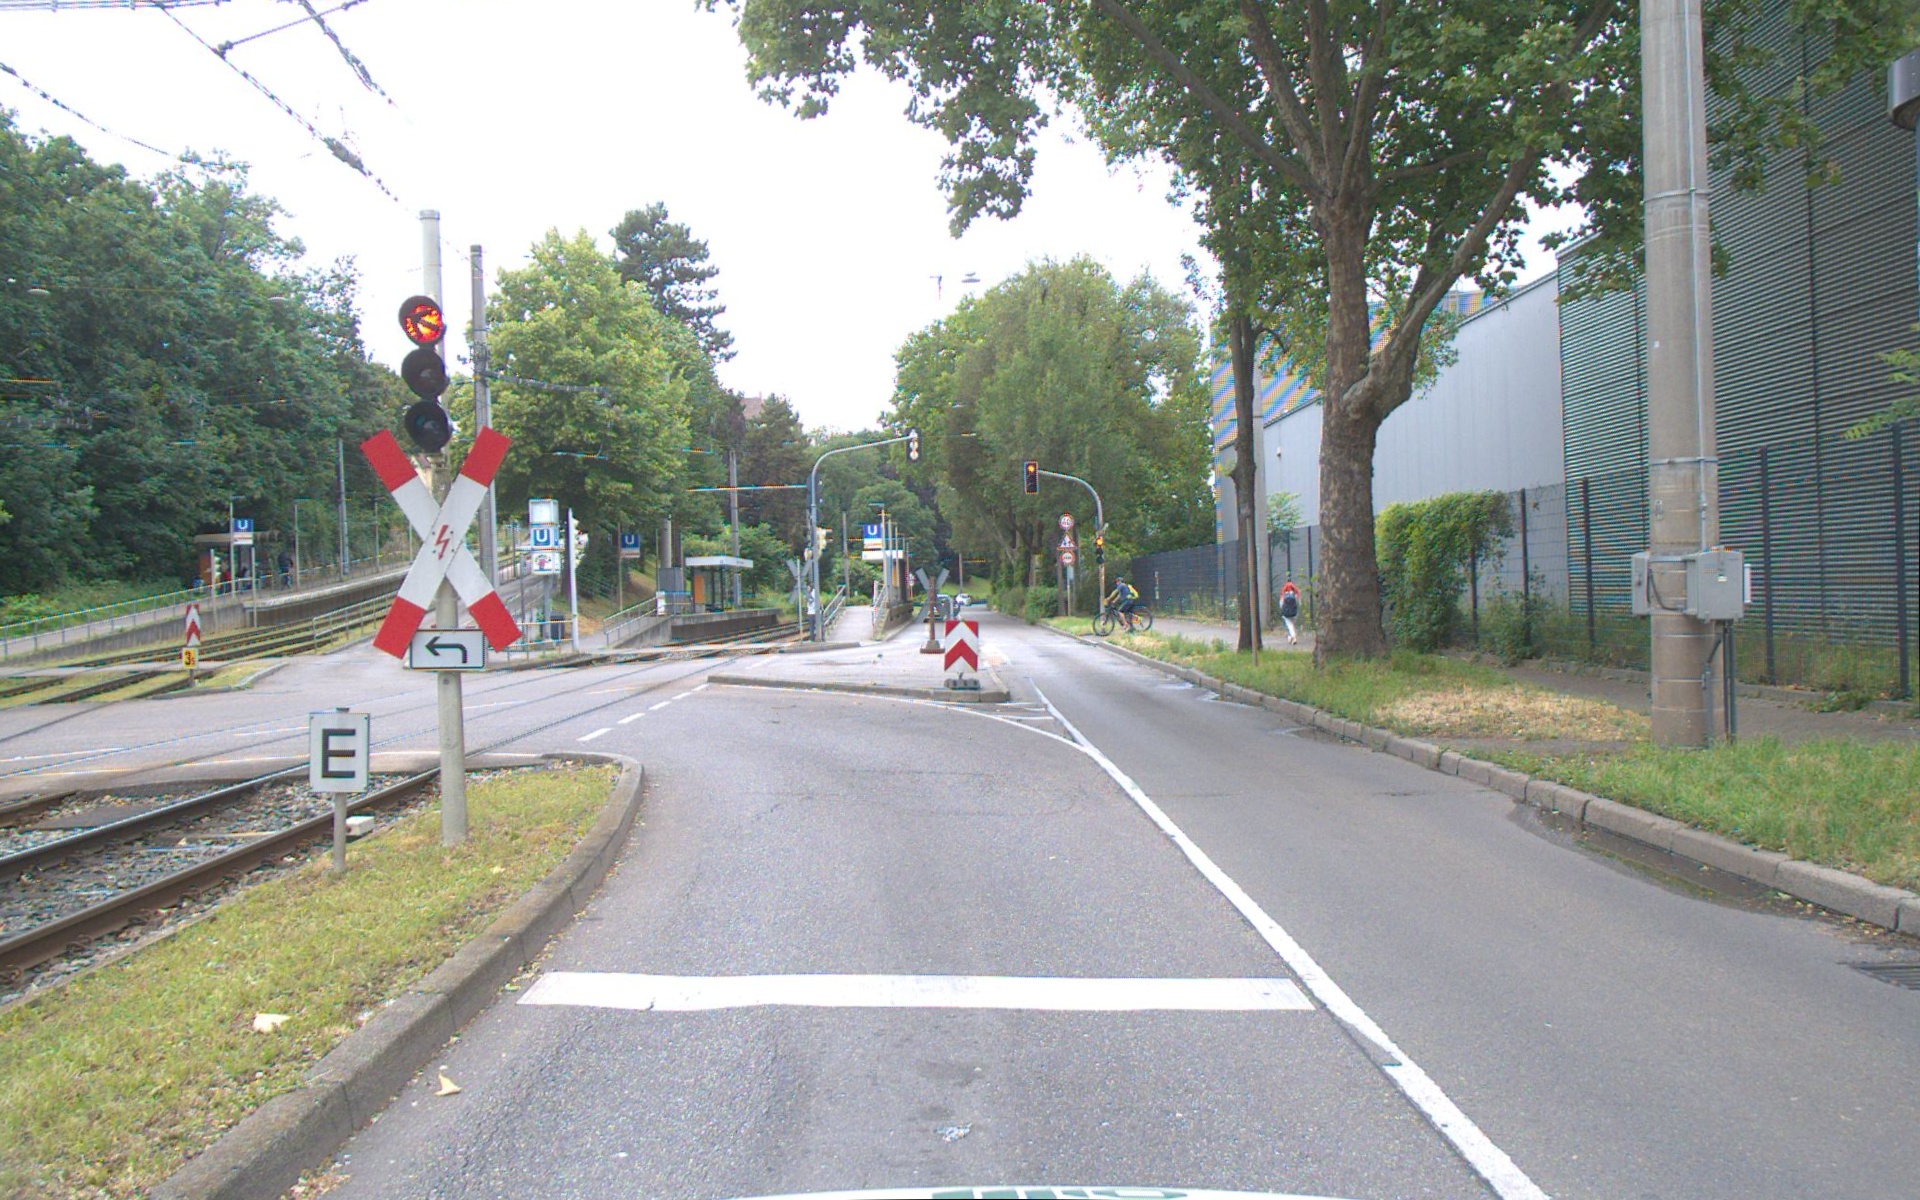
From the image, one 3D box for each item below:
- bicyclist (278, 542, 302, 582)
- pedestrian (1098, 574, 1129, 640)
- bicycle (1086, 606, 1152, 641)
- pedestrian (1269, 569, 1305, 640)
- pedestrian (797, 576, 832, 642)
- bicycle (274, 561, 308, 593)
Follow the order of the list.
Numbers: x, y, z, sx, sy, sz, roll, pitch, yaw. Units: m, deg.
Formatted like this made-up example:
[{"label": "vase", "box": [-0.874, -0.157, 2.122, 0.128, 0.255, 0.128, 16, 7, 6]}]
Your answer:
[{"label": "bicyclist", "box": [-32.399, -1.854, 80.002, 0.806, 1.881, 1.050, -2, 3, -9]}, {"label": "pedestrian", "box": [4.860, 0.223, 52.406, 0.911, 2.049, 0.668, -2, 0, 5]}, {"label": "bicycle", "box": [5.030, 0.729, 52.332, 2.031, 1.024, 0.668, -2, 0, 5]}, {"label": "pedestrian", "box": [7.439, 0.105, 37.661, 0.652, 1.580, 0.935, -2, 0, 5]}, {"label": "pedestrian", "box": [-4.250, 0.252, 48.408, 0.888, 1.885, 0.771, -2, 0, -1]}, {"label": "bicycle", "box": [-32.410, -1.123, 80.185, 0.809, 1.366, 2.991, -2, 3, -9]}]
